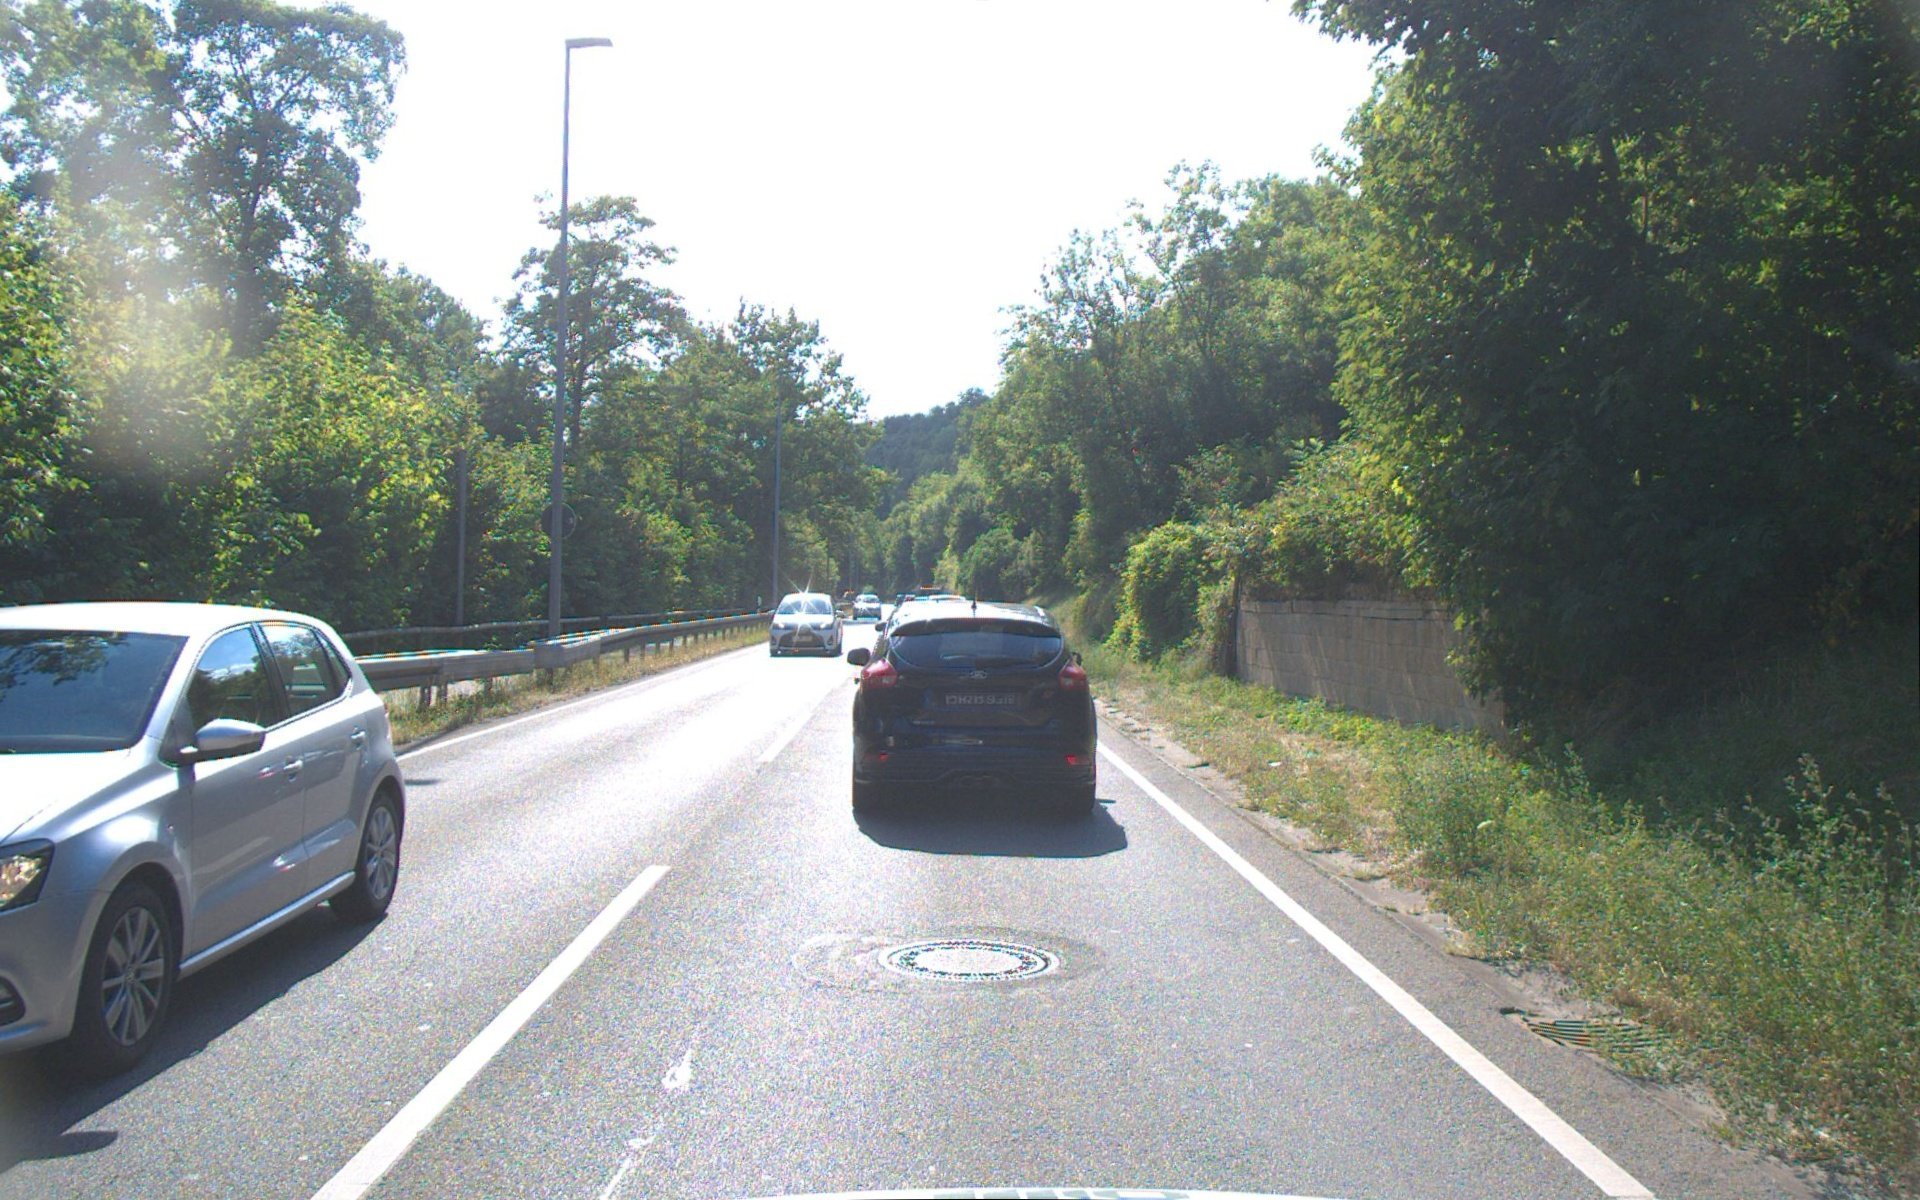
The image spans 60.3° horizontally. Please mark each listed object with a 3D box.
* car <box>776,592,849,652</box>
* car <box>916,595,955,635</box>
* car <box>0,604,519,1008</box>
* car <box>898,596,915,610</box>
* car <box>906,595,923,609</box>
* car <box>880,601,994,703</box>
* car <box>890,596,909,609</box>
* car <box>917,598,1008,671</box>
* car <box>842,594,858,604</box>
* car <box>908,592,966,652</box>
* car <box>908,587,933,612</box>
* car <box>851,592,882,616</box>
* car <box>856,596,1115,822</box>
[{"bbox_3d":[-3.853,0.544,43.785,1.647,1.489,4.196,1,0,-2],"label":"car"},{"bbox_3d":[-1.047,0.610,70.431,1.597,1.624,3.999,0,0,-1],"label":"car"},{"bbox_3d":[-3.394,0.733,7.871,1.590,1.401,4.046,0,0,-1],"label":"car"},{"bbox_3d":[-6.327,0.340,193.895,1.953,1.545,3.998,0,0,-2],"label":"car"},{"bbox_3d":[-4.973,0.228,180.739,1.782,1.545,3.999,0,0,-1],"label":"car"},{"bbox_3d":[-0.307,0.742,25.670,1.627,1.443,4.000,0,0,1],"label":"car"},{"bbox_3d":[-7.500,0.331,204.177,1.956,1.545,3.993,0,0,-8],"label":"car"},{"bbox_3d":[0.020,0.667,34.175,1.768,1.416,3.999,0,0,-1],"label":"car"},{"bbox_3d":[-17.000,-0.172,255.295,1.958,1.545,3.988,0,0,-12],"label":"car"},{"bbox_3d":[-0.656,0.597,47.540,1.597,1.624,3.999,0,0,-1],"label":"car"},{"bbox_3d":[-3.003,-0.031,125.456,1.826,1.812,3.998,0,0,-3],"label":"car"},{"bbox_3d":[-5.749,0.227,101.689,1.738,1.412,3.999,0,0,-1],"label":"car"},{"bbox_3d":[0.142,0.726,12.958,1.704,1.482,3.999,0,0,-1],"label":"car"}]
